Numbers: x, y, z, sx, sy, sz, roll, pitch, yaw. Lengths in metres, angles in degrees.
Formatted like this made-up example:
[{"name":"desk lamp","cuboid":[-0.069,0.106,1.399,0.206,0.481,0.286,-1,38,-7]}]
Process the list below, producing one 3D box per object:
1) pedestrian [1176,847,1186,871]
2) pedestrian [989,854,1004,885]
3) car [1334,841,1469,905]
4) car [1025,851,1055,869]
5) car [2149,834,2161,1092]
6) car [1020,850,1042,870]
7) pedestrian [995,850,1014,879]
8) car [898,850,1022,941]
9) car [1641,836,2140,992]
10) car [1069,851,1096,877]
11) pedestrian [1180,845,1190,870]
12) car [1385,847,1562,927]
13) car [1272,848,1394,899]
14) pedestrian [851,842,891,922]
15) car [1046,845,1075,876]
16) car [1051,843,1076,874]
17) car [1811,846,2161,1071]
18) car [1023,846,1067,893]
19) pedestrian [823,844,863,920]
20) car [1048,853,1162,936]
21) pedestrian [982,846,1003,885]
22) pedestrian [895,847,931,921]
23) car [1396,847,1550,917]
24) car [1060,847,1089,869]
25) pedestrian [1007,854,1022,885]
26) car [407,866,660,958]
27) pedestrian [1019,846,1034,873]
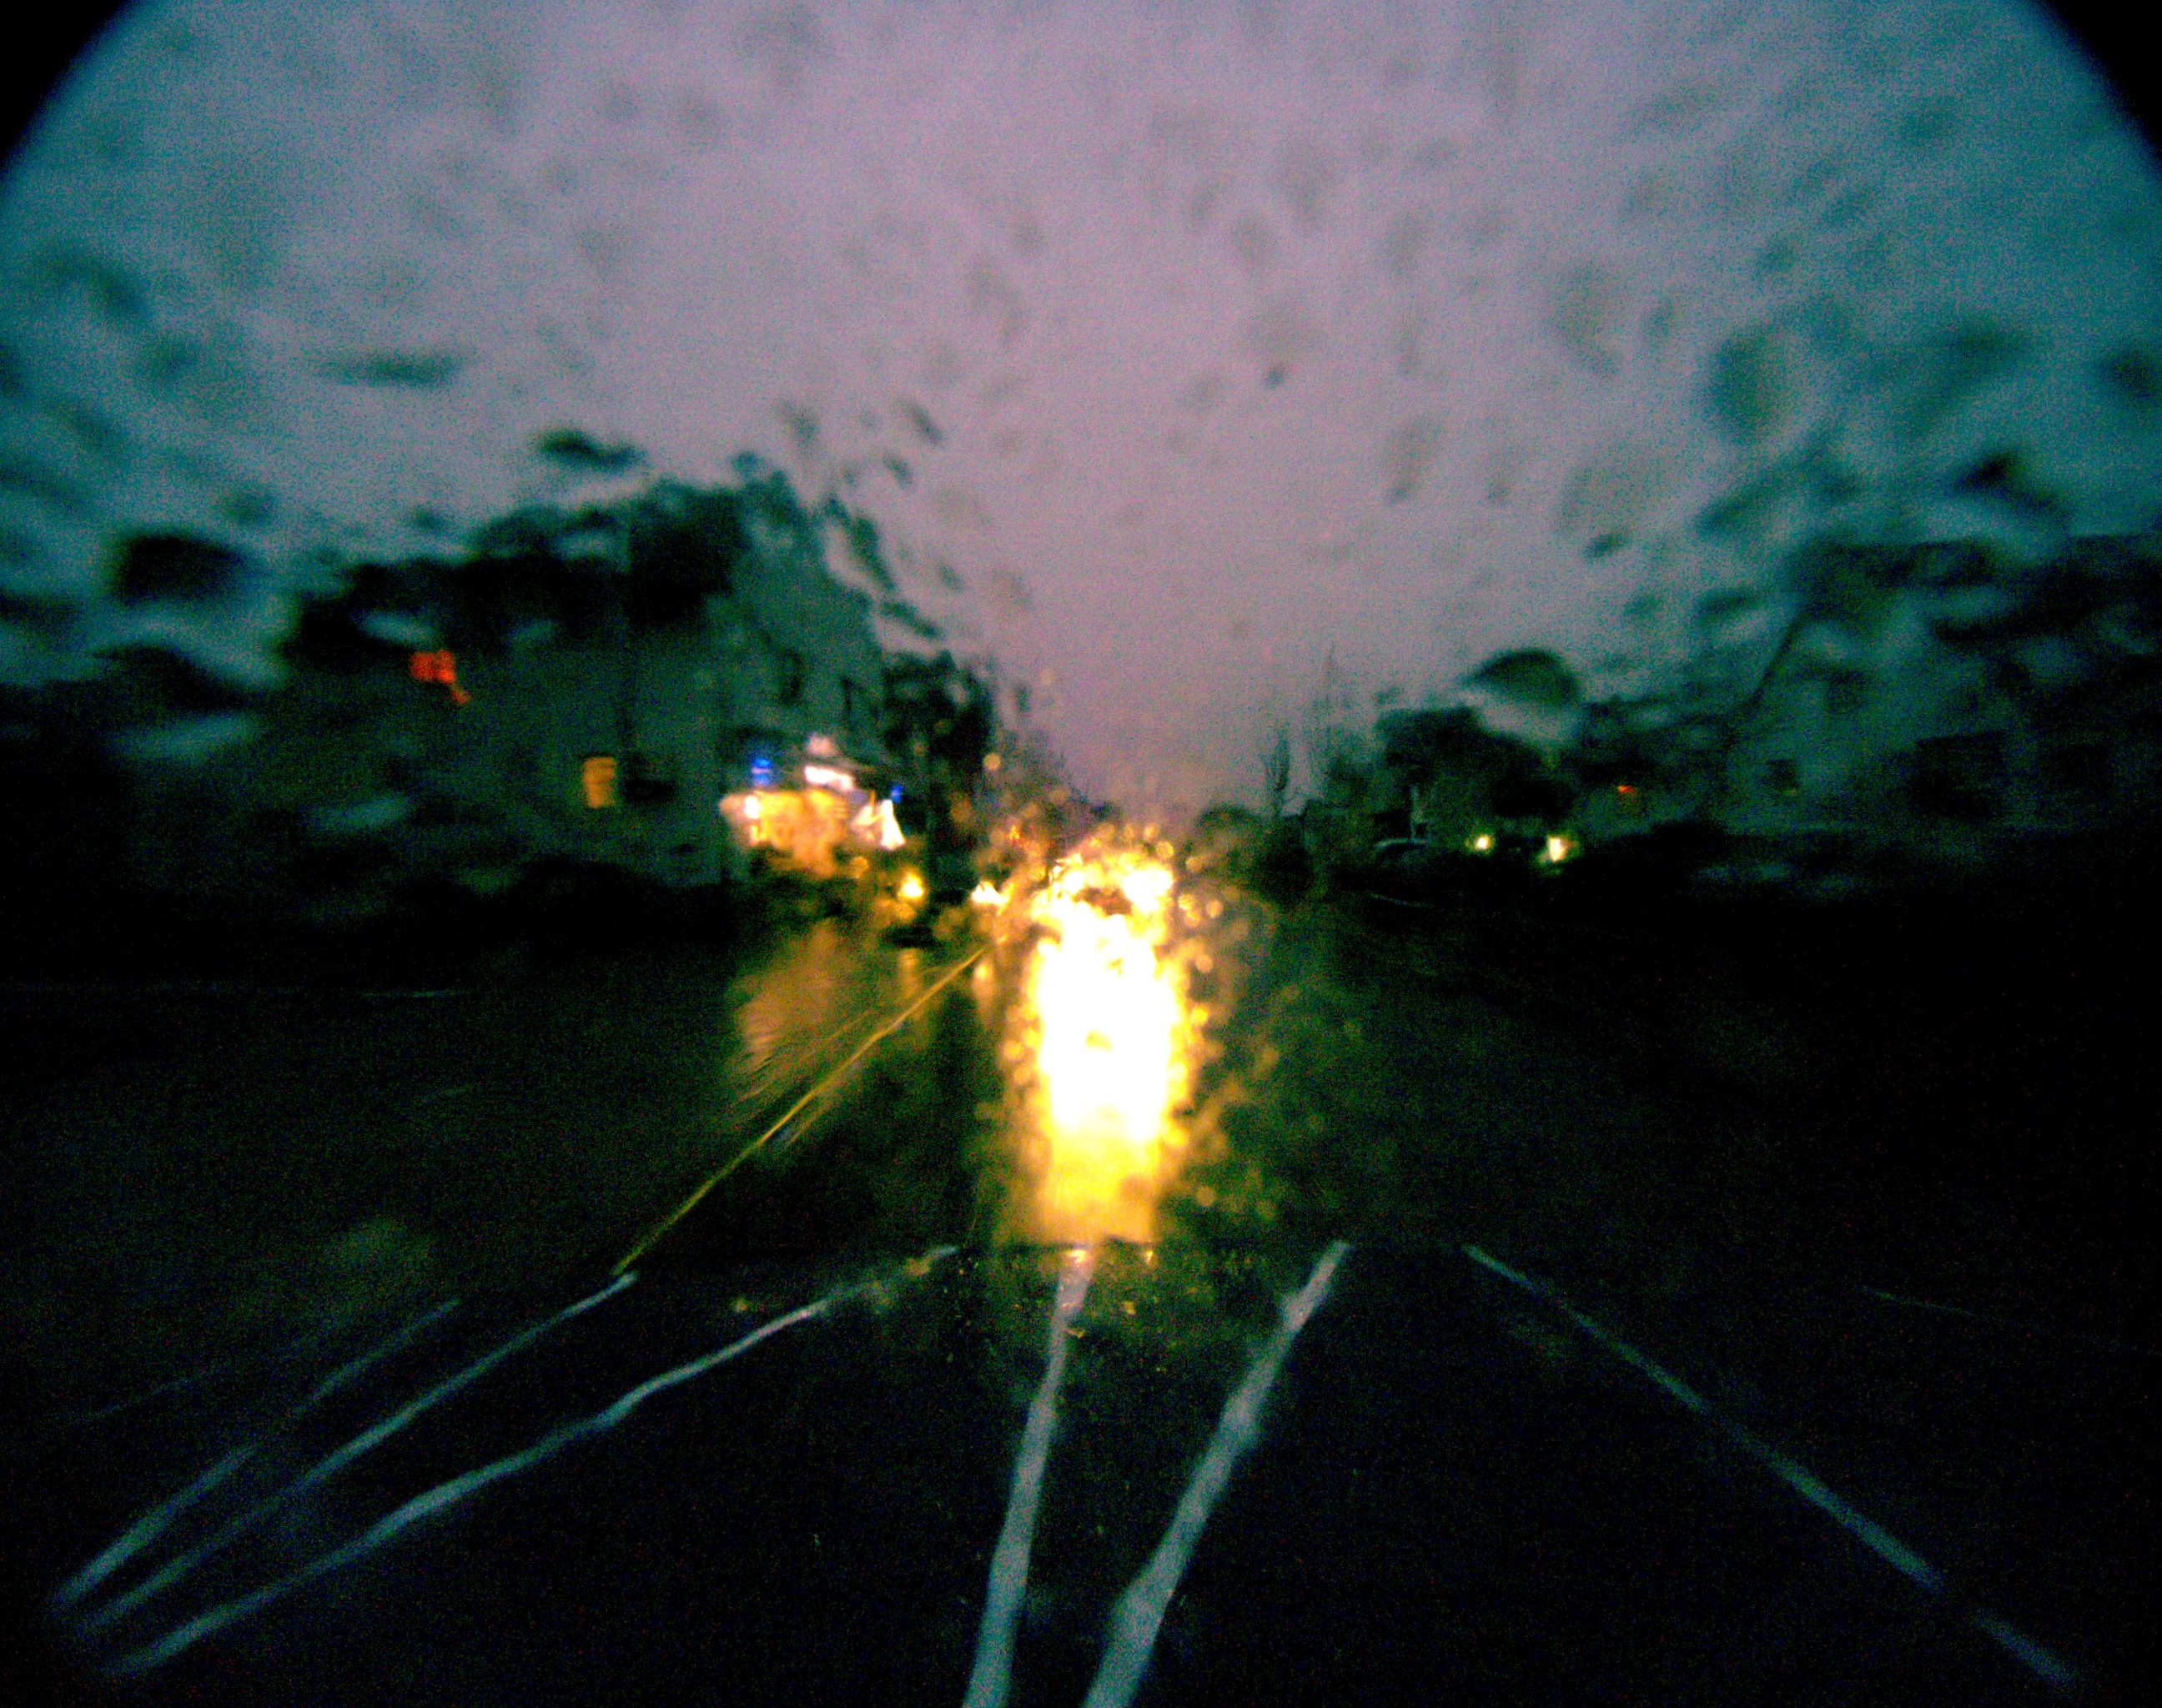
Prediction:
[{"name":"pedestrian","cuboid":[8.337,0.402,63.328,0.674,2.002,0.604,-1,1,1]},{"name":"pedestrian","cuboid":[-4.536,0.824,40.760,0.656,1.596,0.723,0,0,3]},{"name":"car","cuboid":[10.846,0.637,25.877,3.804,1.940,1.750,2,0,1]},{"name":"car","cuboid":[-4.507,0.657,83.505,2.002,2.002,4.300,0,0,-21]},{"name":"car","cuboid":[10.015,0.795,4.500,4.514,1.855,2.000,0,0,1]},{"name":"car","cuboid":[-4.760,0.571,71.421,1.782,1.805,3.997,0,0,-8]},{"name":"pedestrian","cuboid":[-4.530,0.626,45.066,0.974,1.713,1.026,-1,1,1]},{"name":"car","cuboid":[-2.542,0.817,17.080,1.998,1.774,4.520,0,0,1]},{"name":"car","cuboid":[10.102,0.704,9.773,4.424,1.790,1.845,0,0,1]},{"name":"car","cuboid":[0.077,0.766,59.862,1.999,2.002,4.774,0,0,-1]},{"name":"pedestrian","cuboid":[8.781,0.294,64.107,0.666,2.020,0.548,-1,0,-2]},{"name":"car","cuboid":[10.481,0.868,20.482,3.804,1.940,1.750,2,0,1]},{"name":"car","cuboid":[9.548,0.724,29.024,3.997,1.838,1.976,0,0,0]},{"name":"pedestrian","cuboid":[-4.830,0.634,17.481,0.649,1.786,0.509,2,0,12]},{"name":"car","cuboid":[-1.225,0.380,46.909,1.531,1.805,4.000,0,0,1]},{"name":"car","cuboid":[-1.168,0.329,51.617,1.531,2.002,4.000,0,0,1]},{"name":"car","cuboid":[10.113,0.883,7.226,4.514,1.855,1.868,0,0,1]},{"name":"car","cuboid":[-1.601,0.690,34.729,1.748,2.001,3.808,2,-1,0]},{"name":"pedestrian","cuboid":[-5.520,0.650,17.636,0.609,1.710,0.651,2,0,7]},{"name":"car","cuboid":[0.688,0.805,17.717,2.269,1.633,5.067,0,0,5]},{"name":"pedestrian","cuboid":[-4.047,0.533,34.794,0.819,1.754,1.060,0,0,1]},{"name":"pedestrian","cuboid":[-4.000,0.701,18.103,0.650,1.710,0.469,2,0,7]},{"name":"car","cuboid":[11.988,0.837,23.407,3.804,1.940,1.750,2,0,1]},{"name":"car","cuboid":[-0.626,0.385,70.351,1.867,2.002,3.840,0,0,-12]},{"name":"pedestrian","cuboid":[-3.557,0.822,40.721,0.731,1.596,0.723,0,0,3]},{"name":"car","cuboid":[-9.564,0.950,13.369,3.555,1.378,1.662,1,0,13]},{"name":"pedestrian","cuboid":[-3.487,0.336,48.713,0.860,1.713,0.929,-1,1,1]}]
